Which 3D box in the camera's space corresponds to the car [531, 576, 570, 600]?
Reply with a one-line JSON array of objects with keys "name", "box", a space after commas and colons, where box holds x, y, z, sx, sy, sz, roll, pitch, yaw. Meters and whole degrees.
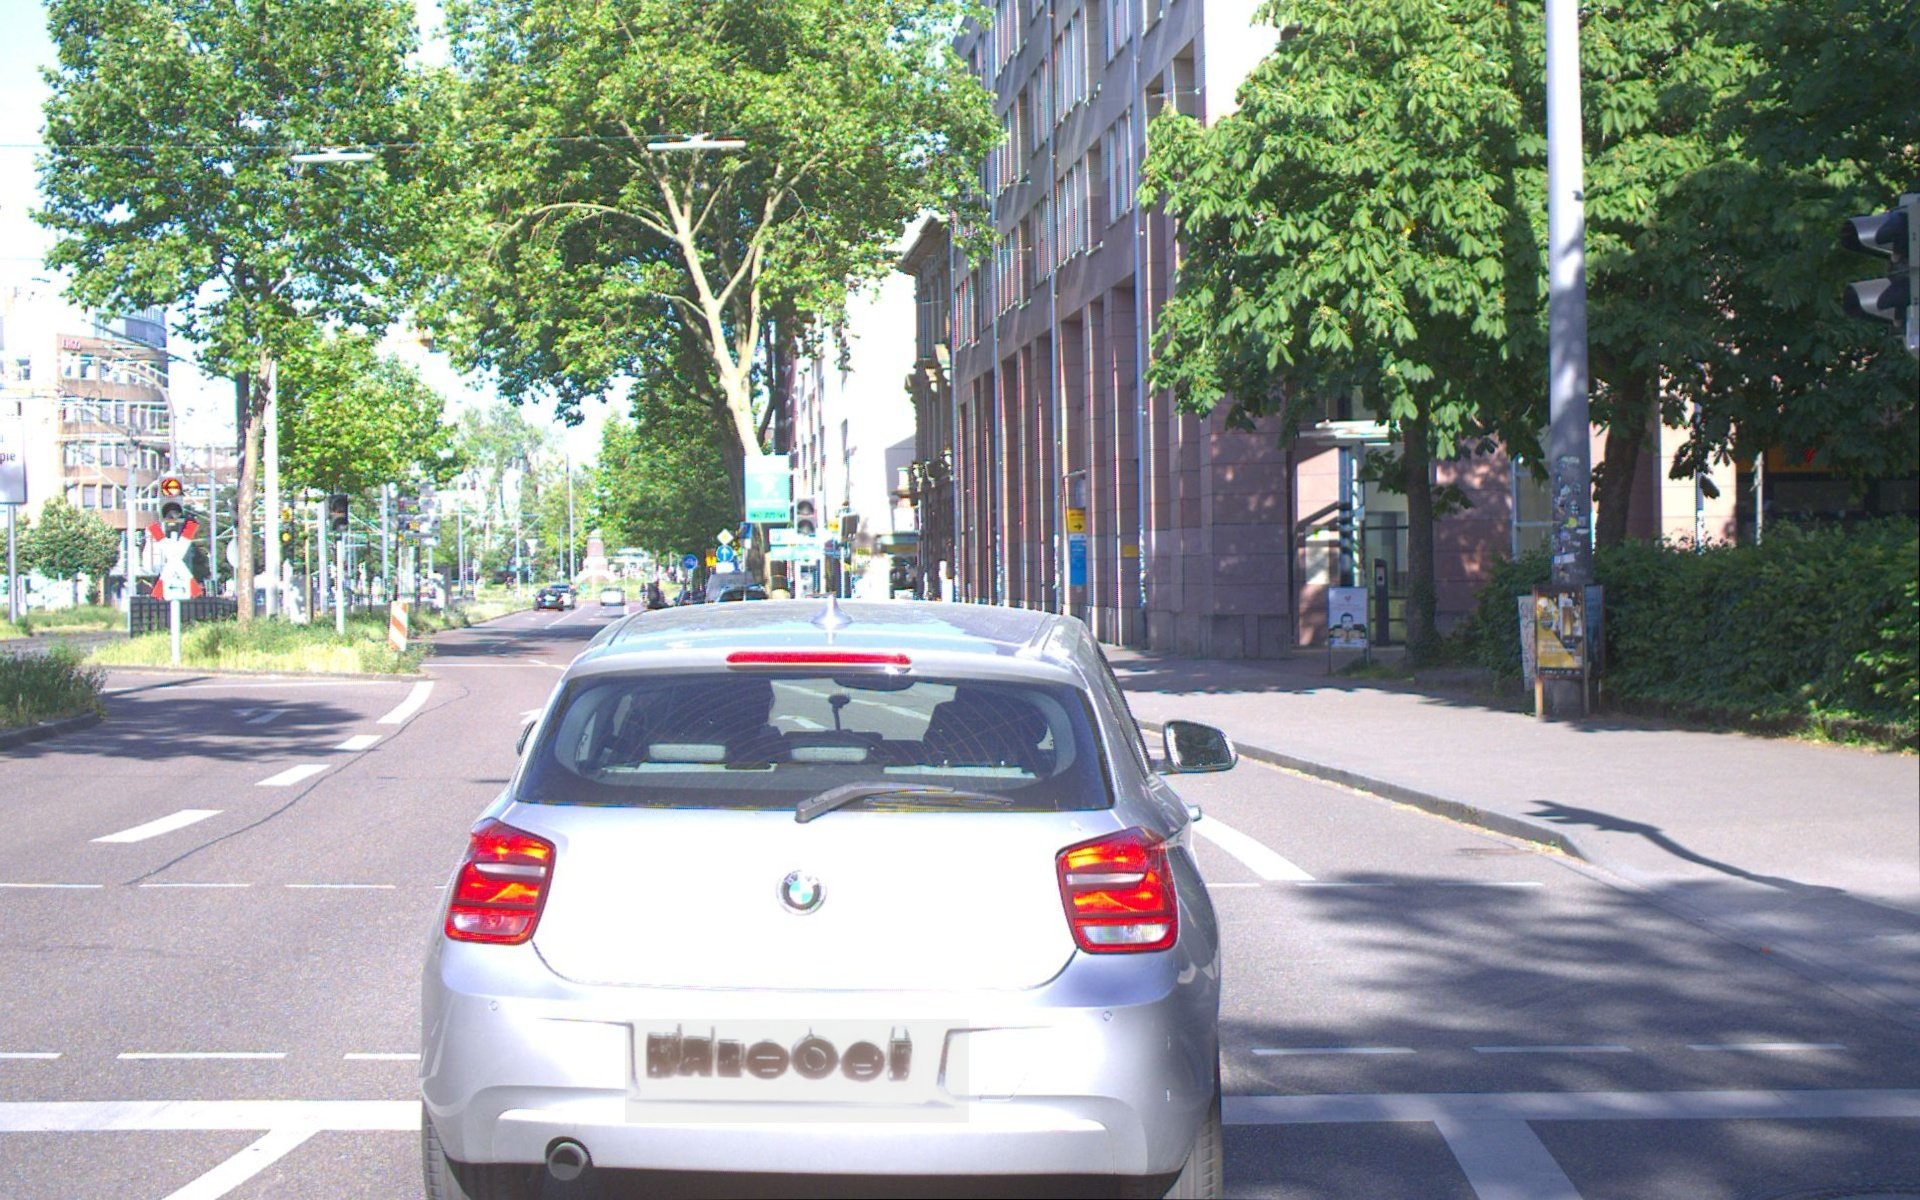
[{"name": "car", "box": [-25.731, -0.757, 215.884, 1.993, 1.481, 4.001, -1, 0, -13]}]

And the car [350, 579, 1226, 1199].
[{"name": "car", "box": [-0.267, 0.681, 8.741, 1.730, 1.386, 3.839, 1, 1, 2]}]

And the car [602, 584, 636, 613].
[{"name": "car", "box": [-24.726, -0.082, 249.299, 1.993, 2.007, 4.000, 1, -1, 0]}]

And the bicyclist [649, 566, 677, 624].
[{"name": "bicyclist", "box": [-8.594, -0.147, 99.429, 0.658, 1.652, 0.765, -1, 0, 4]}]

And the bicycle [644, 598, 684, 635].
[{"name": "bicycle", "box": [-8.565, 0.469, 99.475, 0.831, 1.038, 1.874, -1, 1, 4]}]
